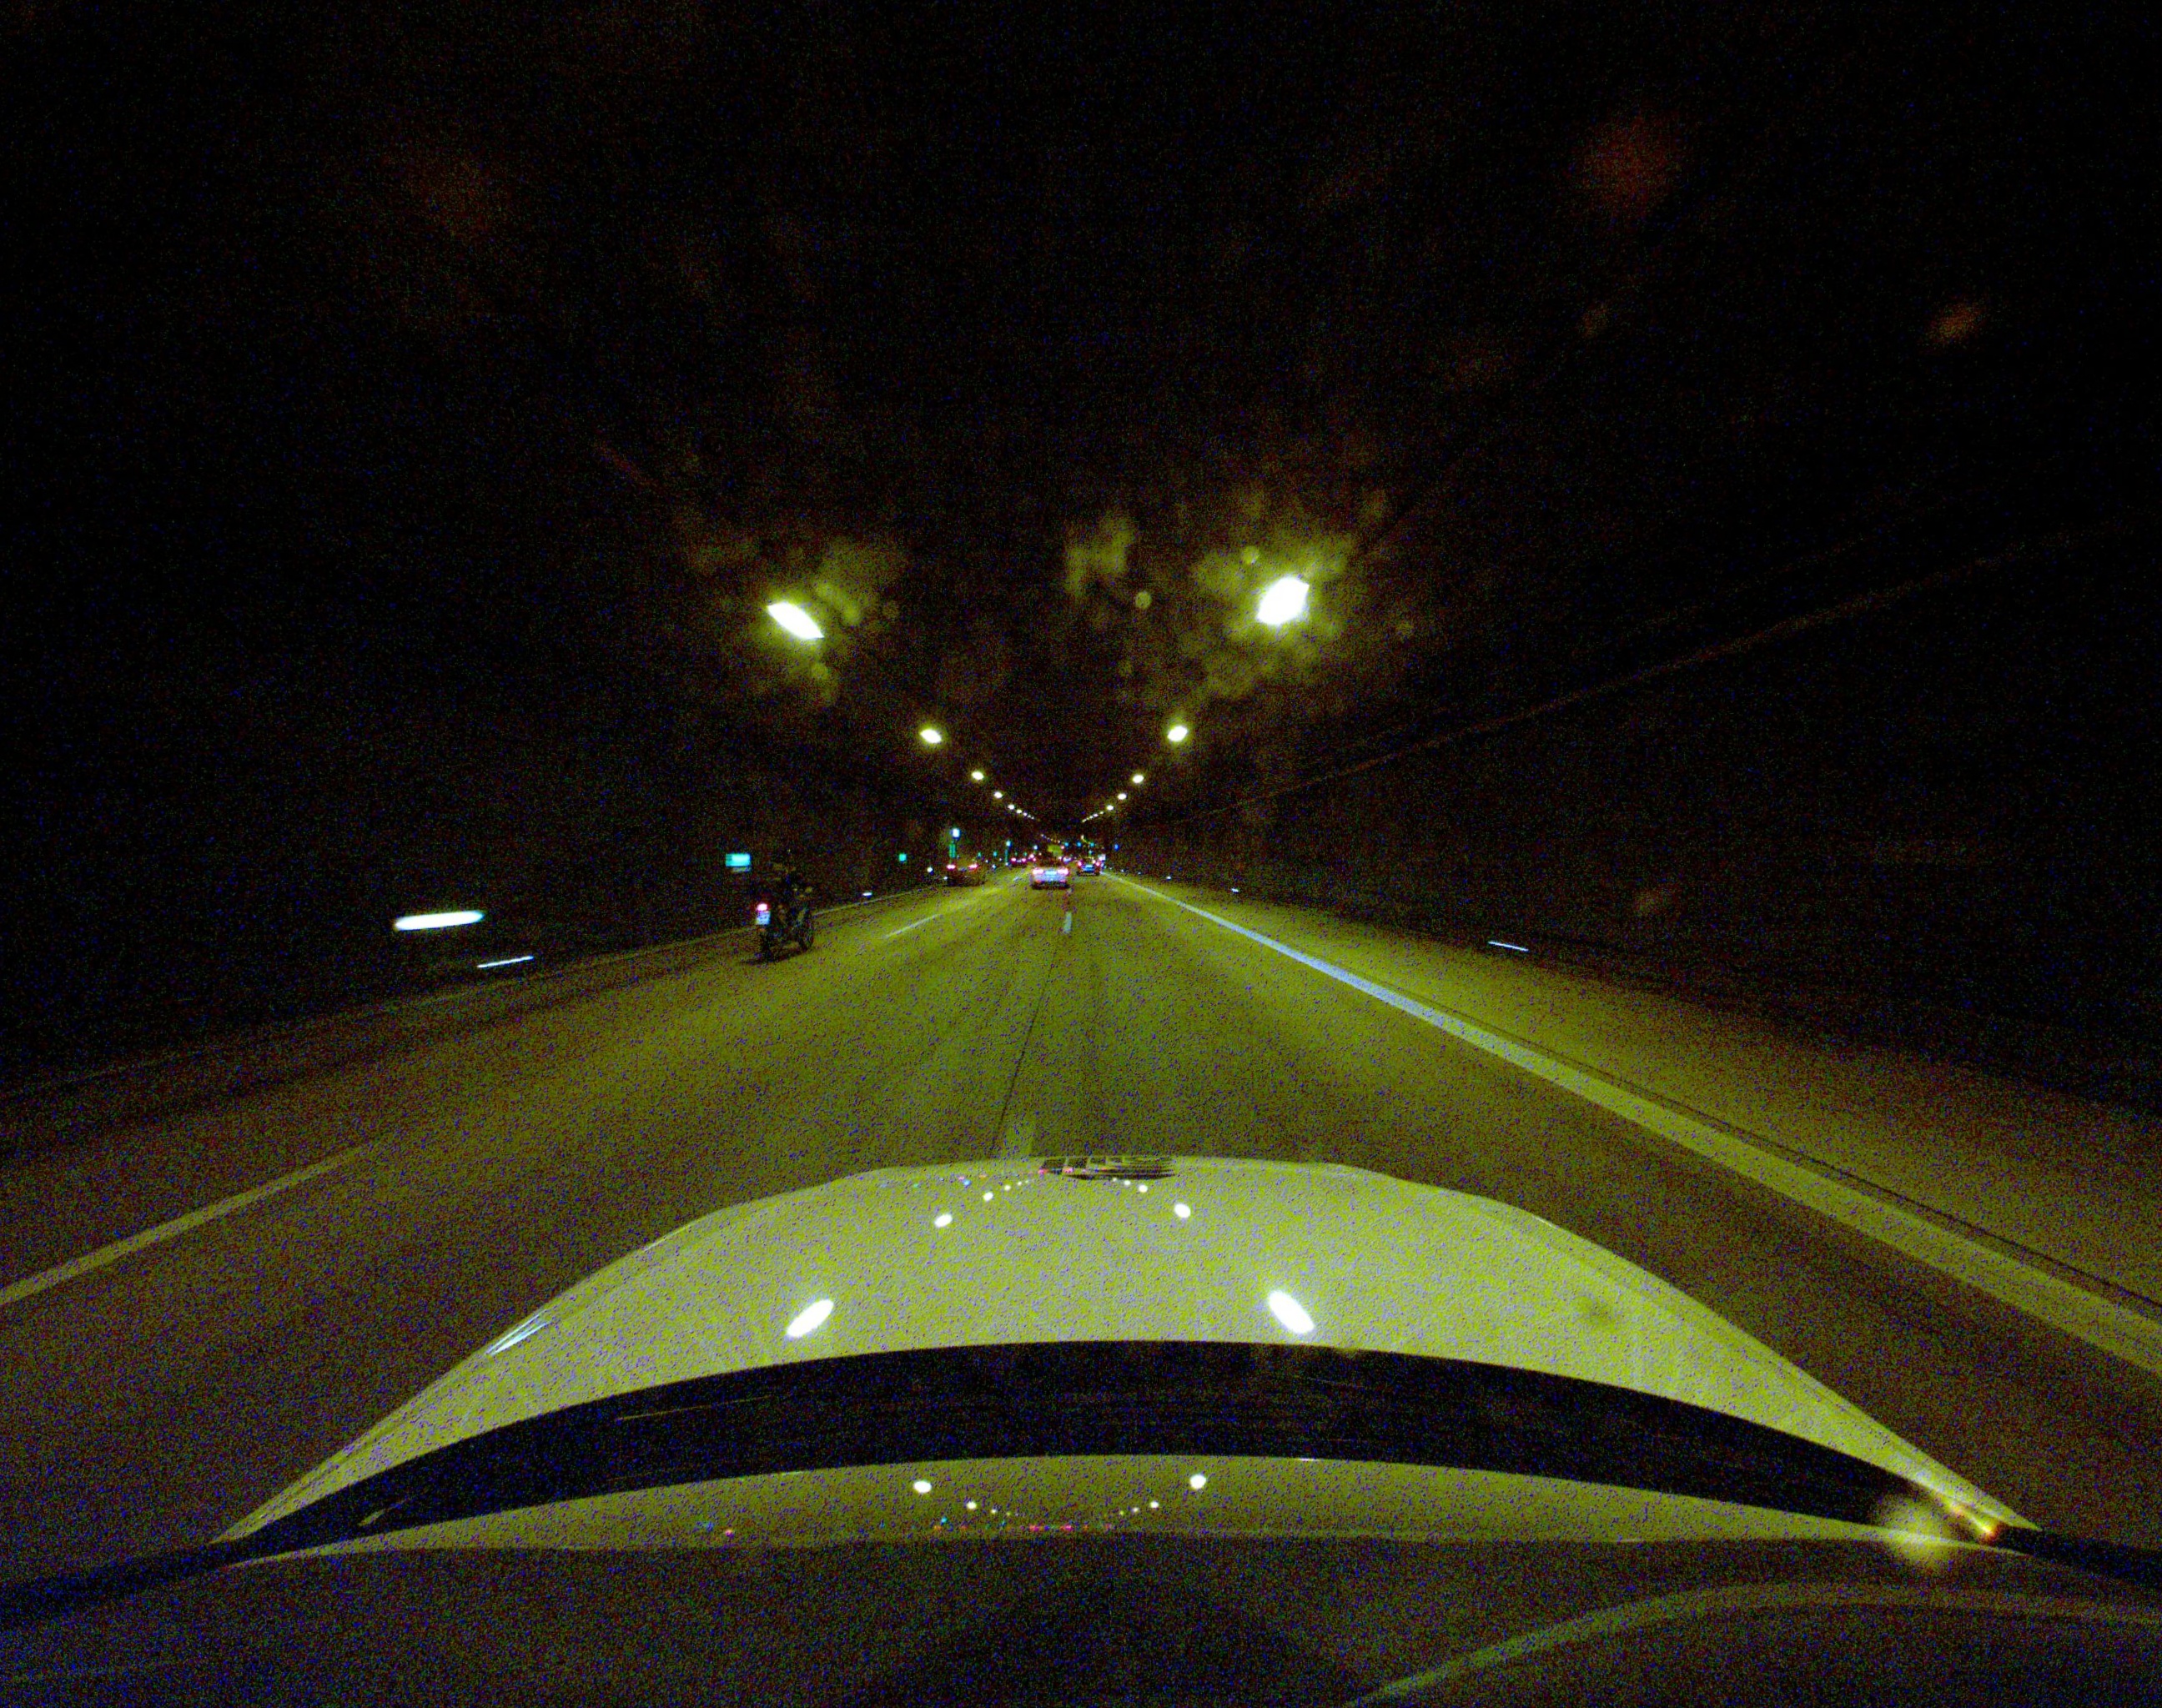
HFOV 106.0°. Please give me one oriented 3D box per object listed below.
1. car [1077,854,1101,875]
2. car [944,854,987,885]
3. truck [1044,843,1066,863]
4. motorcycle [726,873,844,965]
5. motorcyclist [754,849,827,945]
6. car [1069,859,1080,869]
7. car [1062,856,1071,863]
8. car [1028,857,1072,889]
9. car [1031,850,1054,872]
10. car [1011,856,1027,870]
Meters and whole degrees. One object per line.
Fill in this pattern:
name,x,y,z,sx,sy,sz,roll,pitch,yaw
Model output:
car,0.633,0.829,65.731,1.833,1.602,4.000,0,-1,1
car,-6.247,0.791,44.434,1.780,1.598,3.800,-1,0,-1
truck,-4.110,-0.140,132.162,3.072,3.113,10.031,0,0,1
motorcycle,-4.645,0.967,13.043,0.842,1.246,2.606,-1,0,2
motorcyclist,-4.645,0.670,13.068,0.836,1.477,0.822,-1,-1,1
car,-1.304,1.870,153.688,1.988,1.754,3.998,0,-1,-1
car,-3.356,1.291,188.757,1.987,1.754,4.000,0,-1,1
car,-1.475,0.895,39.536,1.988,1.483,3.997,-1,0,-1
car,-3.674,0.695,78.389,1.987,1.972,3.999,-1,-1,0
car,-7.331,1.054,95.971,1.797,1.684,3.993,0,-1,-5
